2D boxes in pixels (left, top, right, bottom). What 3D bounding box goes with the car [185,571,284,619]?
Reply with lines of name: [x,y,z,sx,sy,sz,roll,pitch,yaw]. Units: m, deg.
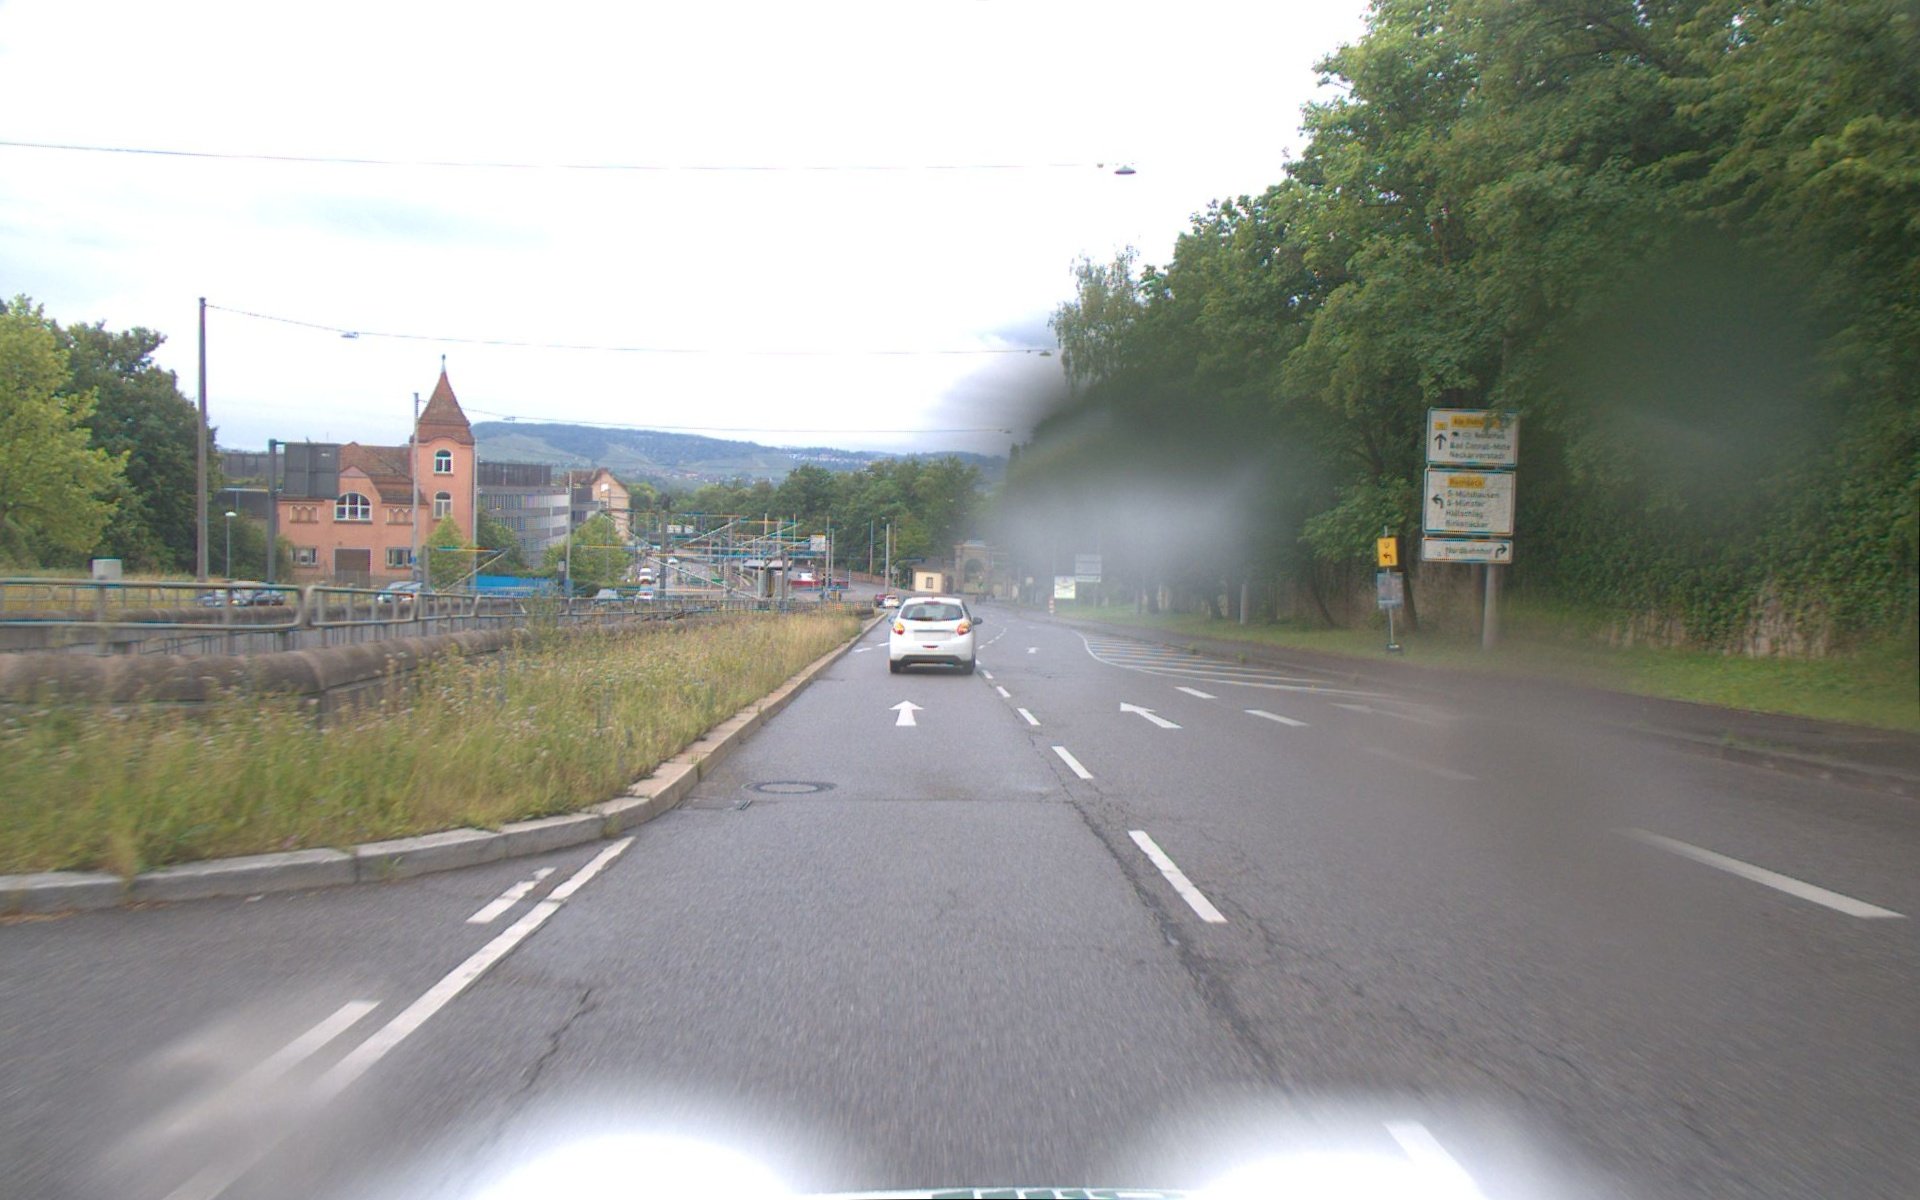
car: [-26.414,-0.208,60.354,1.852,1.669,3.972,1,1,-1]

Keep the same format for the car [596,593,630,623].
car: [-26.074,0.589,124.495,1.854,2.004,4.032,4,0,-4]

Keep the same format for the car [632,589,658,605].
car: [-26.971,-0.278,141.821,1.524,1.314,3.559,2,1,-1]

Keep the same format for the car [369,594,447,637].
car: [-23.958,0.643,71.899,1.853,1.672,4.357,4,0,-1]

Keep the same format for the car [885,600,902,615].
car: [-7.596,0.799,188.268,1.785,1.634,4.000,-1,1,0]

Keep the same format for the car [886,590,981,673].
car: [-0.534,0.599,33.652,1.830,1.537,3.899,0,1,-1]
